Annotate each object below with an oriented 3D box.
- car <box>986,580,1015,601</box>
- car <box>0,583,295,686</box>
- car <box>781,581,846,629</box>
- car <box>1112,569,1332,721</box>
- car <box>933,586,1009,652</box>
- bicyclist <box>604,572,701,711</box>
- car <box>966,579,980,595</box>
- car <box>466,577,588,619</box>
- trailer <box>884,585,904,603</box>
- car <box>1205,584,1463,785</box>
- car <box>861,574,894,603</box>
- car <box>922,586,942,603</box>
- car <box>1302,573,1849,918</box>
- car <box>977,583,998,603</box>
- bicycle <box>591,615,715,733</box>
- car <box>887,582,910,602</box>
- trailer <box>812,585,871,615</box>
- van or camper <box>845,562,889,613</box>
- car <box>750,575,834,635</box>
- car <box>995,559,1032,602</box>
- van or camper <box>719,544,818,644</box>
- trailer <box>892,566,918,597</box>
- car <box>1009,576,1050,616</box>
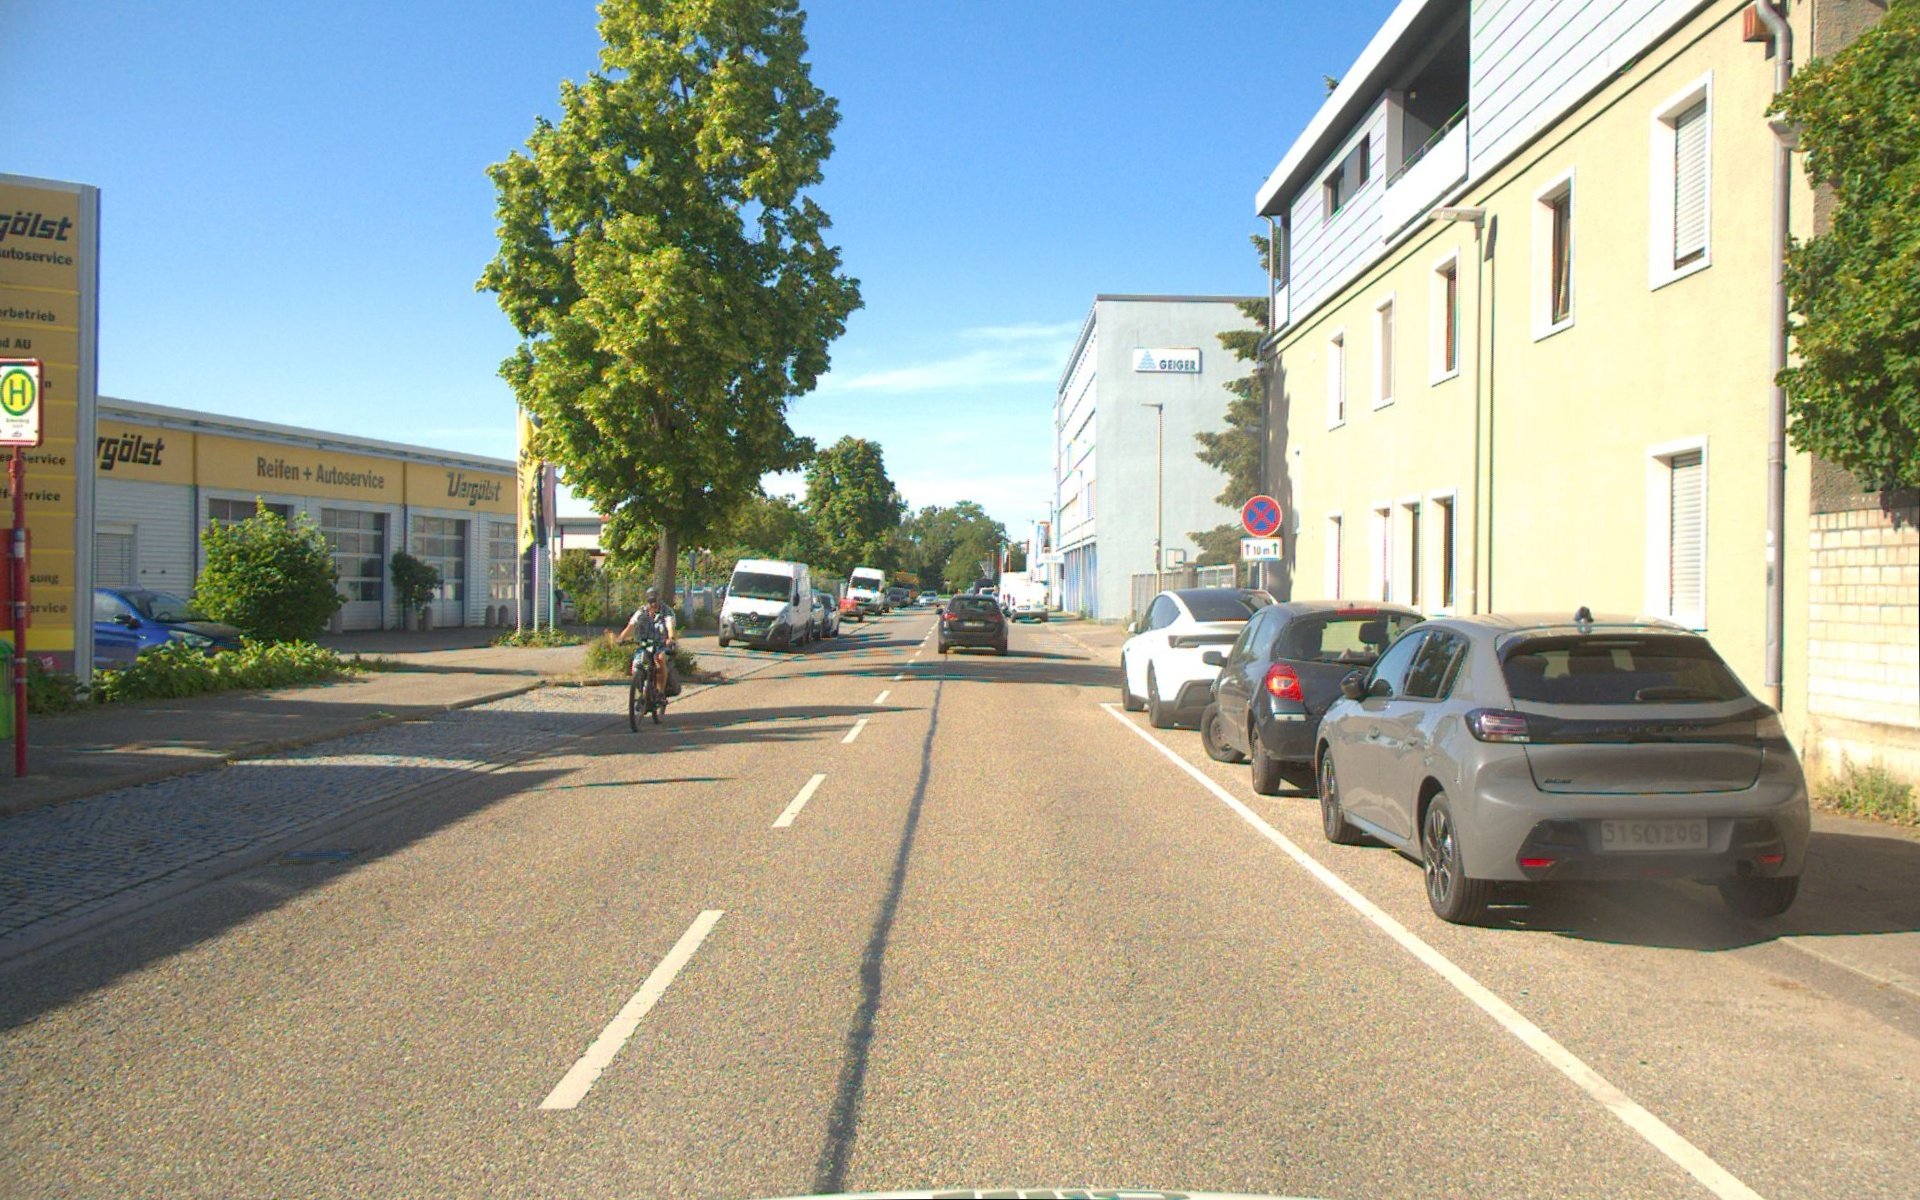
[{"bbox_3d":[2.846,-0.675,117.396,1.856,1.430,5.123,2,0,-1],"label":"car"},{"bbox_3d":[-12.965,0.494,26.076,4.252,1.534,2.002,0,0,14],"label":"car"},{"bbox_3d":[-5.187,0.140,59.160,1.763,1.536,5.003,4,1,0],"label":"car"},{"bbox_3d":[3.150,0.471,20.880,1.893,1.673,4.768,-1,1,-2],"label":"car"},{"bbox_3d":[0.282,0.435,41.938,1.809,1.556,4.000,-1,1,0],"label":"car"},{"bbox_3d":[-3.689,0.487,19.911,0.822,1.569,1.137,-4,0,3],"label":"bicyclist"},{"bbox_3d":[1.777,-1.814,228.247,1.836,2.049,5.160,2,0,0],"label":"car"},{"bbox_3d":[-16.563,-0.088,63.351,4.069,1.601,1.918,0,0,10],"label":"car"},{"bbox_3d":[-5.240,-0.451,131.596,1.446,1.378,3.078,2,0,0],"label":"trailer"},{"bbox_3d":[3.127,0.619,14.562,1.565,1.498,4.192,0,1,4],"label":"car"},{"bbox_3d":[-5.510,-0.787,110.365,1.989,1.723,5.105,4,1,-2],"label":"car"},{"bbox_3d":[-2.557,-0.512,150.838,1.711,1.473,4.360,0,0,0],"label":"car"},{"bbox_3d":[3.174,0.626,9.417,1.625,1.531,4.032,-1,1,0],"label":"car"},{"bbox_3d":[2.685,-0.684,161.741,1.847,1.829,5.102,2,0,-1],"label":"car"},{"bbox_3d":[-3.660,0.845,19.979,0.822,1.261,2.605,-4,0,3],"label":"bicycle"},{"bbox_3d":[-5.549,-0.766,150.011,1.754,1.761,4.803,-1,1,1],"label":"car"},{"bbox_3d":[-5.565,-0.015,78.475,2.328,1.098,6.245,4,1,-1],"label":"trailer"},{"bbox_3d":[-5.424,-0.766,97.179,1.926,2.731,5.949,5,1,1],"label":"van or camper"},{"bbox_3d":[-5.405,0.121,53.877,1.952,1.768,4.577,4,1,3],"label":"car"},{"bbox_3d":[3.390,-1.291,105.793,1.953,2.643,6.050,-2,2,-1],"label":"car"},{"bbox_3d":[-5.495,-0.211,48.322,2.028,2.593,6.403,4,1,0],"label":"van or camper"},{"bbox_3d":[-6.352,-2.152,190.661,2.931,3.503,8.159,0,0,-2],"label":"trailer"},{"bbox_3d":[3.316,-0.191,79.997,1.850,1.864,5.091,0,1,1],"label":"car"}]
